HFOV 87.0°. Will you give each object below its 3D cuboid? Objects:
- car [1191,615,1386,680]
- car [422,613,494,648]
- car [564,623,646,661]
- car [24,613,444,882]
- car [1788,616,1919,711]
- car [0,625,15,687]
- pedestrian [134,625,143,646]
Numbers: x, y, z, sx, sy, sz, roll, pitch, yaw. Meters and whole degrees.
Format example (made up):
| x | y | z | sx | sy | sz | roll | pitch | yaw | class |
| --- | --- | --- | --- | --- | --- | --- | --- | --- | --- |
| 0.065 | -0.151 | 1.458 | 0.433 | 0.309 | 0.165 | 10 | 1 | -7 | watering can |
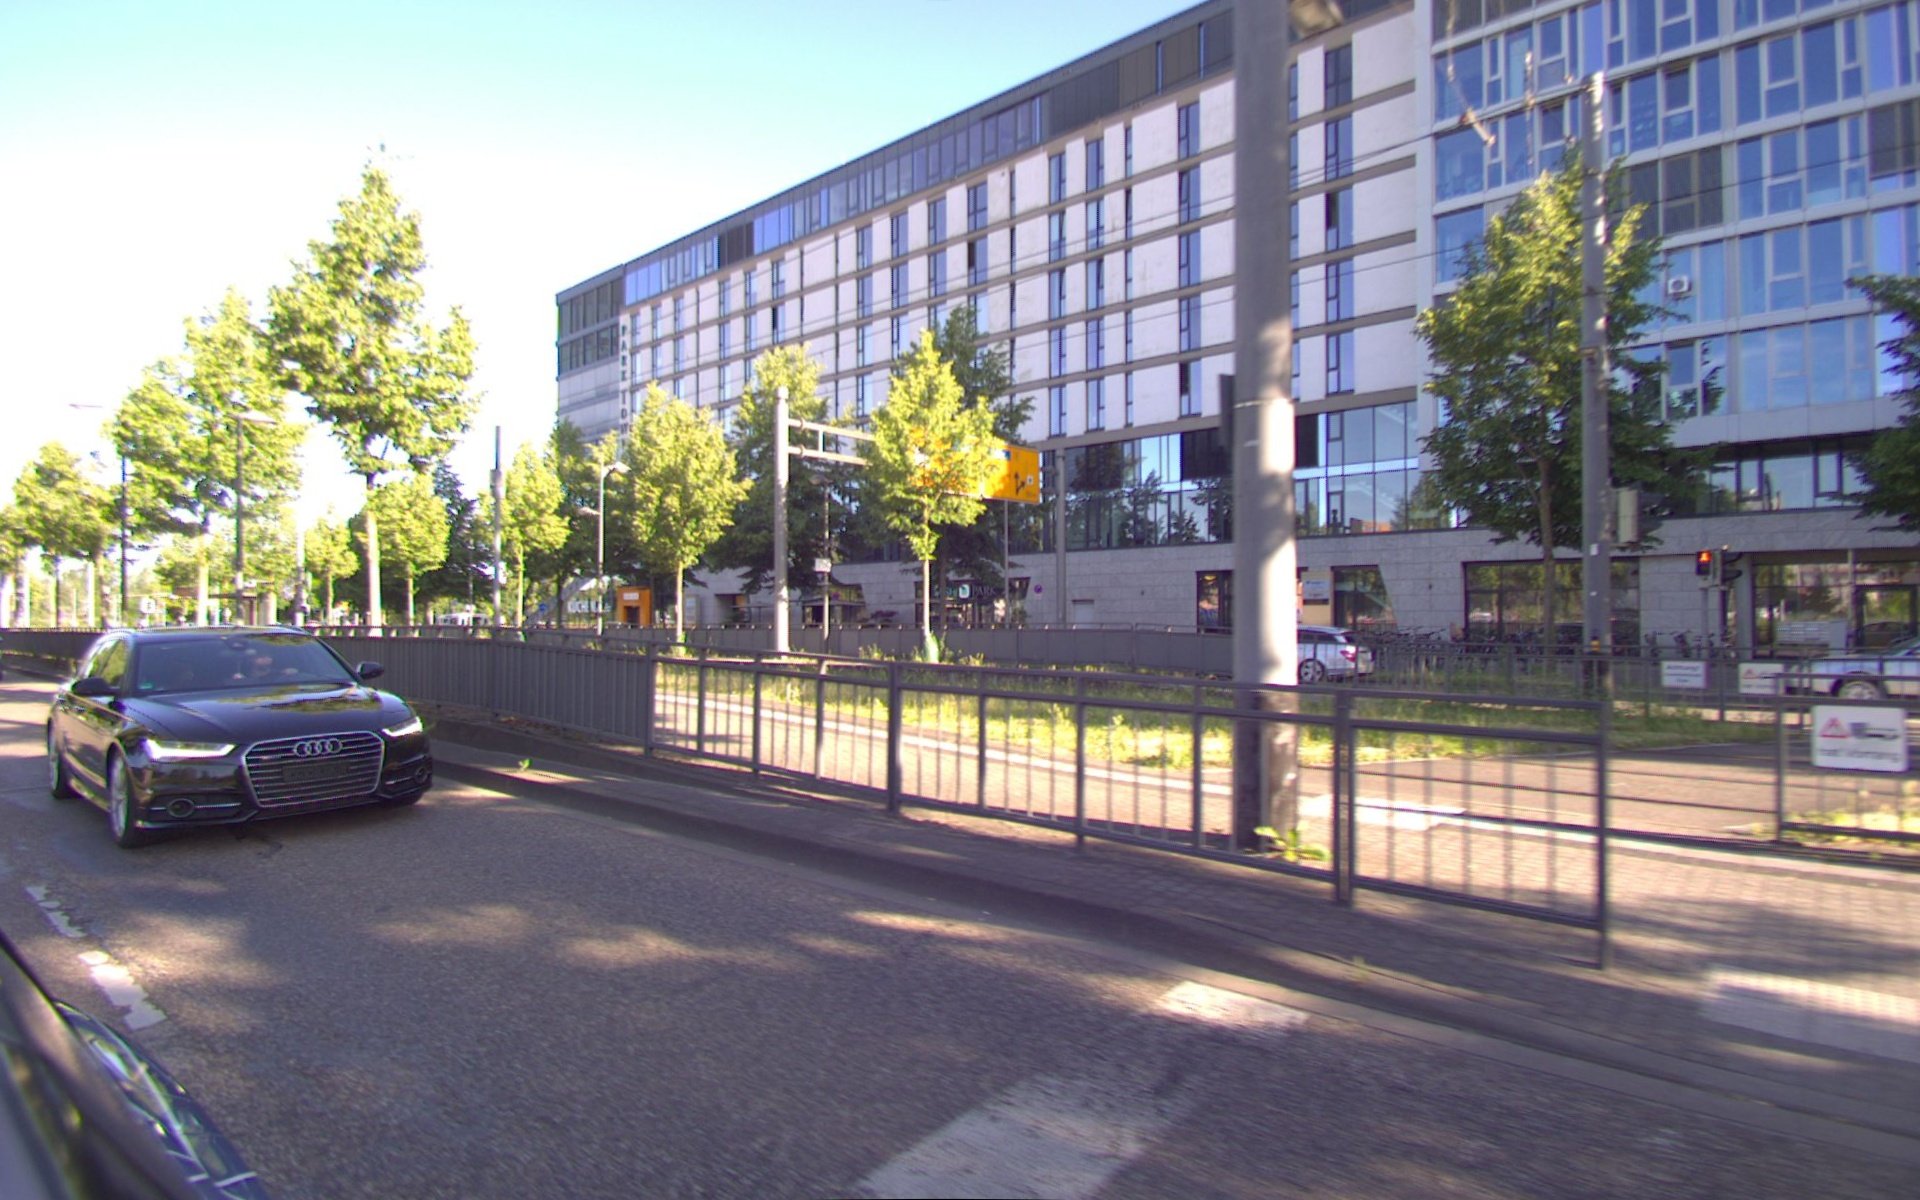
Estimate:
| x | y | z | sx | sy | sz | roll | pitch | yaw | class |
| --- | --- | --- | --- | --- | --- | --- | --- | --- | --- |
| 8.173 | 1.134 | 25.371 | 4.332 | 1.414 | 1.742 | 0 | 0 | 41 | car |
| -26.444 | 1.594 | 53.250 | 4.226 | 1.763 | 1.972 | -2 | -2 | 41 | car |
| -14.929 | 1.738 | 42.523 | 3.699 | 1.532 | 1.661 | -2 | -2 | 41 | car |
| -5.980 | 0.910 | 8.082 | 4.599 | 1.538 | 1.765 | -1 | -1 | 42 | car |
| 15.446 | 0.946 | 15.272 | 4.507 | 1.414 | 1.799 | -2 | -2 | 41 | car |
| -26.762 | 1.479 | 26.888 | 4.524 | 1.581 | 1.826 | -1 | -2 | 39 | car |
| -63.039 | 2.688 | 77.644 | 0.810 | 1.590 | 0.413 | 0 | 0 | 39 | pedestrian |
